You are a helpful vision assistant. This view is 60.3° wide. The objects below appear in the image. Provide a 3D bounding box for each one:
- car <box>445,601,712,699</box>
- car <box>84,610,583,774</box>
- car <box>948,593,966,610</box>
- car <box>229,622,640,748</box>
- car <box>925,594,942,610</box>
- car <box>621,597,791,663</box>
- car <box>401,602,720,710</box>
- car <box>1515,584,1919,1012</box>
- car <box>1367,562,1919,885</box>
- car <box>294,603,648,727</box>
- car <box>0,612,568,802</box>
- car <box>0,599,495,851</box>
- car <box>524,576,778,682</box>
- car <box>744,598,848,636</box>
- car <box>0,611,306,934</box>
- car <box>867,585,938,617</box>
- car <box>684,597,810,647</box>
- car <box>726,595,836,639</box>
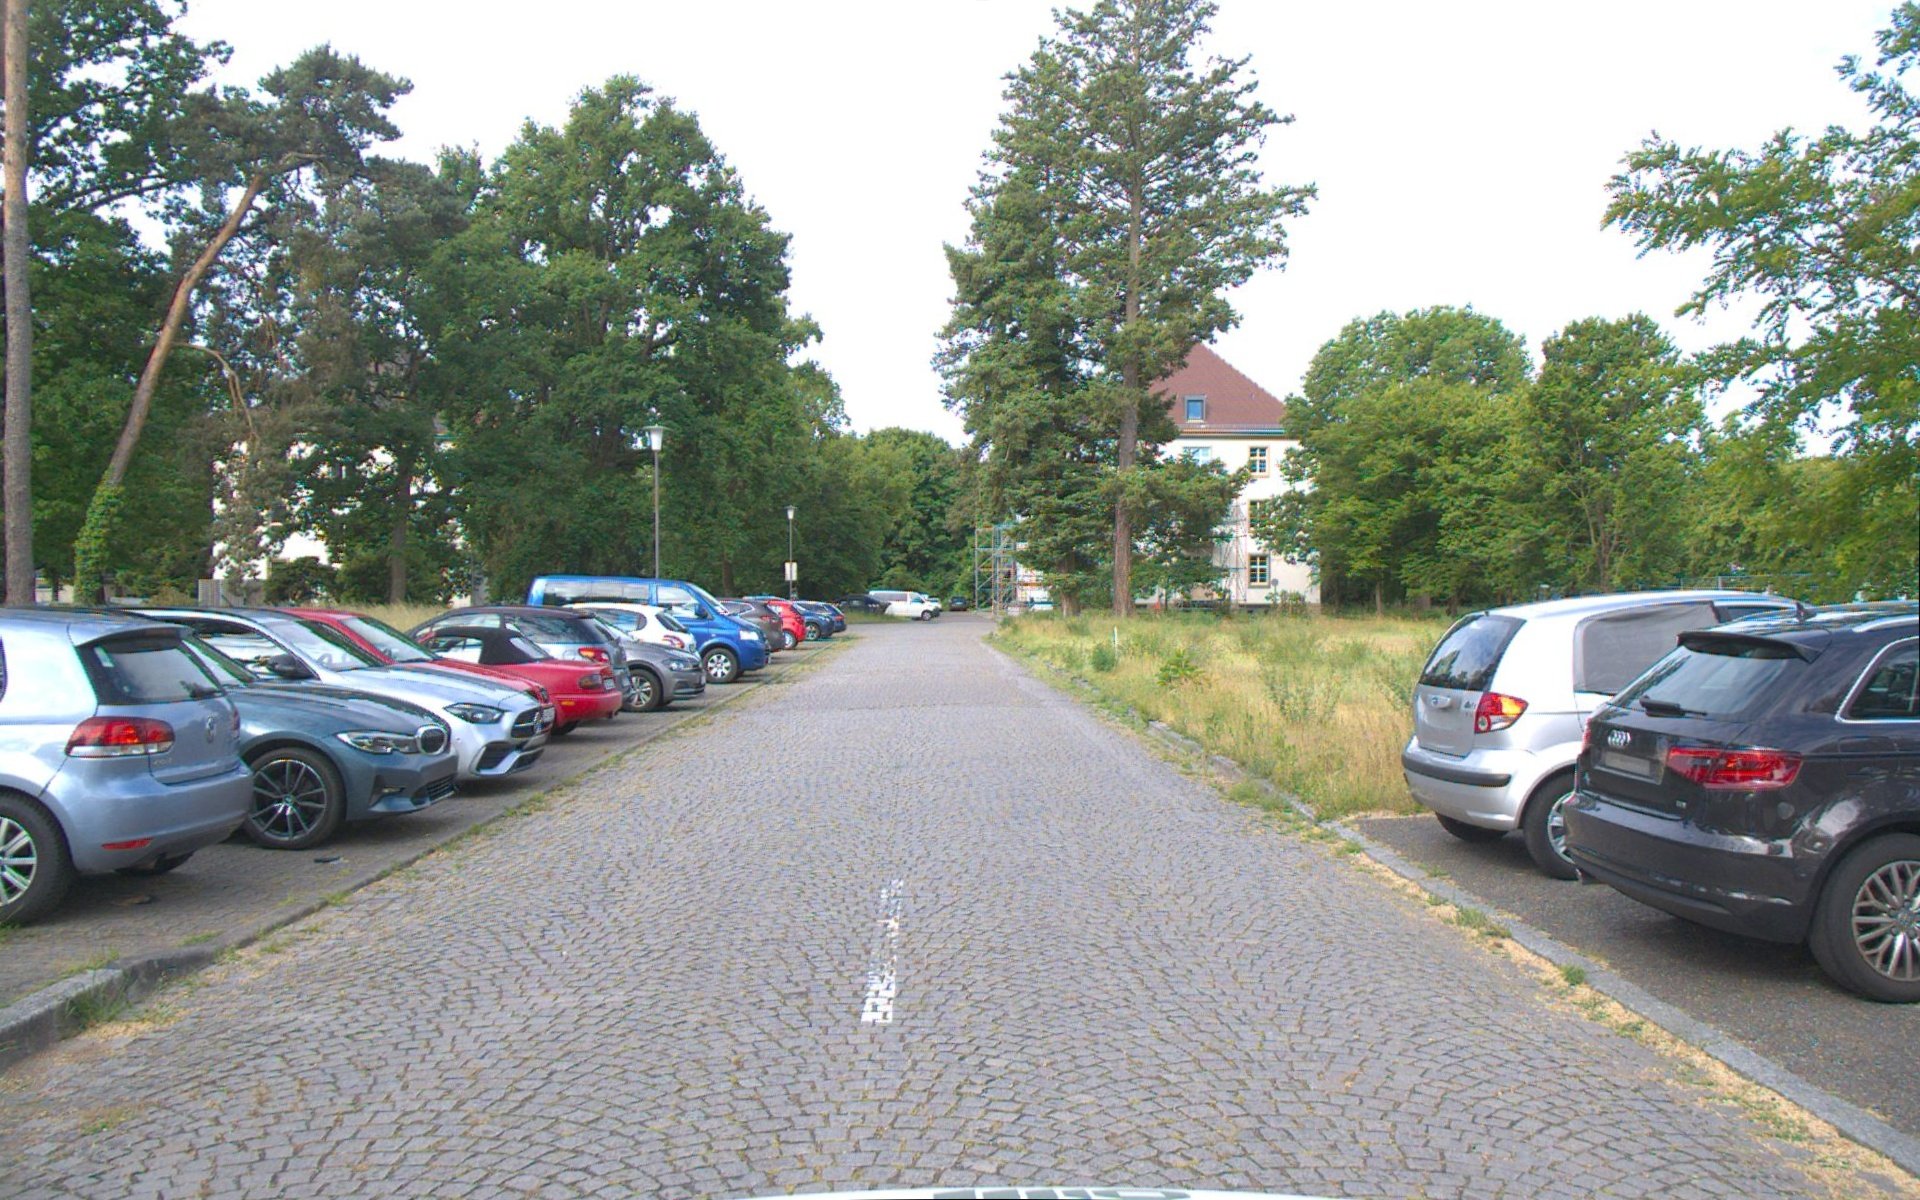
[{"bbox_3d":[-6.152,0.794,26.994,3.923,1.528,1.843,0,0,0],"label":"car"},{"bbox_3d":[-5.979,0.854,16.185,4.168,1.480,1.855,0,0,-1],"label":"car"},{"bbox_3d":[-0.368,0.129,181.943,1.754,1.750,4.058,-1,-1,-3],"label":"car"},{"bbox_3d":[-5.783,0.921,18.573,4.047,1.305,1.763,0,0,-2],"label":"car"},{"bbox_3d":[-2.931,0.195,181.551,1.754,1.665,4.058,-1,-1,-3],"label":"car"},{"bbox_3d":[-6.269,0.723,41.164,3.986,1.602,1.953,0,0,-3],"label":"car"},{"bbox_3d":[-5.750,0.793,24.139,4.216,1.506,1.731,0,0,0],"label":"car"},{"bbox_3d":[4.827,0.645,7.030,4.279,1.430,1.795,-3,1,-3],"label":"car"},{"bbox_3d":[4.501,0.629,9.723,3.698,1.505,1.741,-3,1,-4],"label":"car"},{"bbox_3d":[-6.186,0.803,21.244,4.004,1.506,1.755,0,0,0],"label":"car"},{"bbox_3d":[-5.696,0.840,13.883,4.346,1.481,1.949,0,-1,-1],"label":"car"},{"bbox_3d":[-5.600,0.780,11.200,4.413,1.564,1.869,0,-1,-5],"label":"car"},{"bbox_3d":[-5.947,0.539,32.300,4.615,2.015,2.037,0,0,-2],"label":"car"},{"bbox_3d":[-6.557,0.658,66.421,3.986,1.493,1.626,0,0,2],"label":"car"},{"bbox_3d":[-5.880,0.804,8.564,4.240,1.496,1.827,0,-1,0],"label":"car"},{"bbox_3d":[-4.042,0.068,115.470,4.878,2.109,2.051,1,-2,-3],"label":"car"},{"bbox_3d":[-6.580,0.667,51.471,3.739,1.515,1.787,0,0,-2],"label":"car"},{"bbox_3d":[-6.650,0.626,61.721,3.990,1.632,1.786,0,0,-3],"label":"car"}]
